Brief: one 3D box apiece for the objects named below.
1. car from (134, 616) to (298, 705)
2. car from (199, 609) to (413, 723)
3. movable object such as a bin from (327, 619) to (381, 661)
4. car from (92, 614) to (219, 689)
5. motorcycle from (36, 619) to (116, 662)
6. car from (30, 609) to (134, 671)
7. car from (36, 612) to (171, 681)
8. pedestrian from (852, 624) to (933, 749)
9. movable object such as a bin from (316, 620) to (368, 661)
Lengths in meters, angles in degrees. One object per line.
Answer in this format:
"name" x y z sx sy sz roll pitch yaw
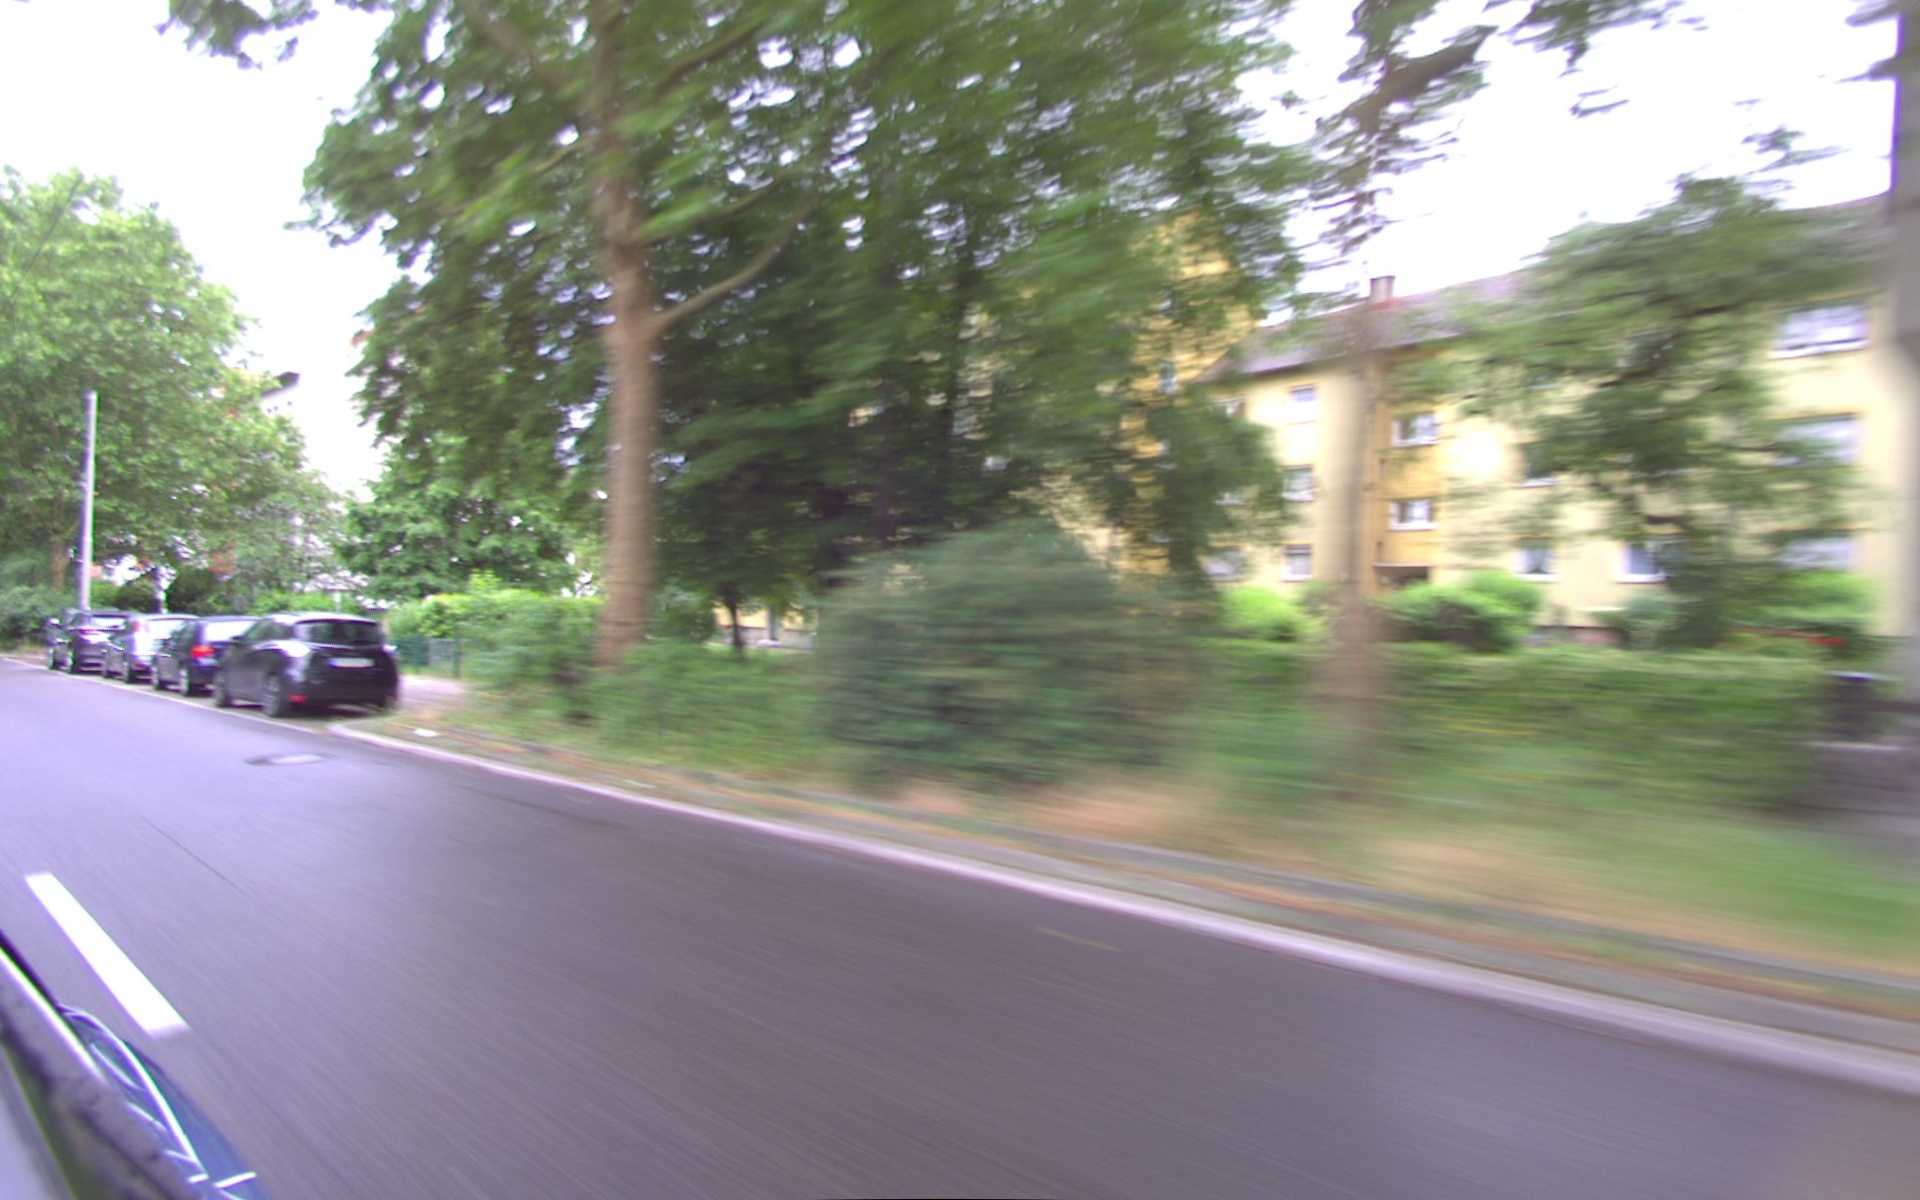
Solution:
"car" -14.328 1.129 19.429 3.872 1.519 1.654 -1 -6 42
"car" -10.253 0.988 15.768 4.016 1.549 1.631 -1 -5 41
"movable object such as a bin" -20.838 1.355 34.791 1.480 1.390 1.222 -1 -2 44
"car" -18.318 1.097 22.978 4.123 1.519 1.654 -1 0 43
"motorcycle" -28.987 1.326 33.204 0.782 1.325 1.821 -1 -4 40
"car" -26.538 1.207 30.544 4.563 1.670 1.715 -2 -6 42
"car" -21.974 1.168 25.918 4.235 1.603 1.846 -1 -4 40
"pedestrian" -0.951 1.174 14.131 1.021 1.631 0.581 2 2 43
"movable object such as a bin" -21.910 1.429 35.887 1.480 1.390 1.222 -1 -2 44
